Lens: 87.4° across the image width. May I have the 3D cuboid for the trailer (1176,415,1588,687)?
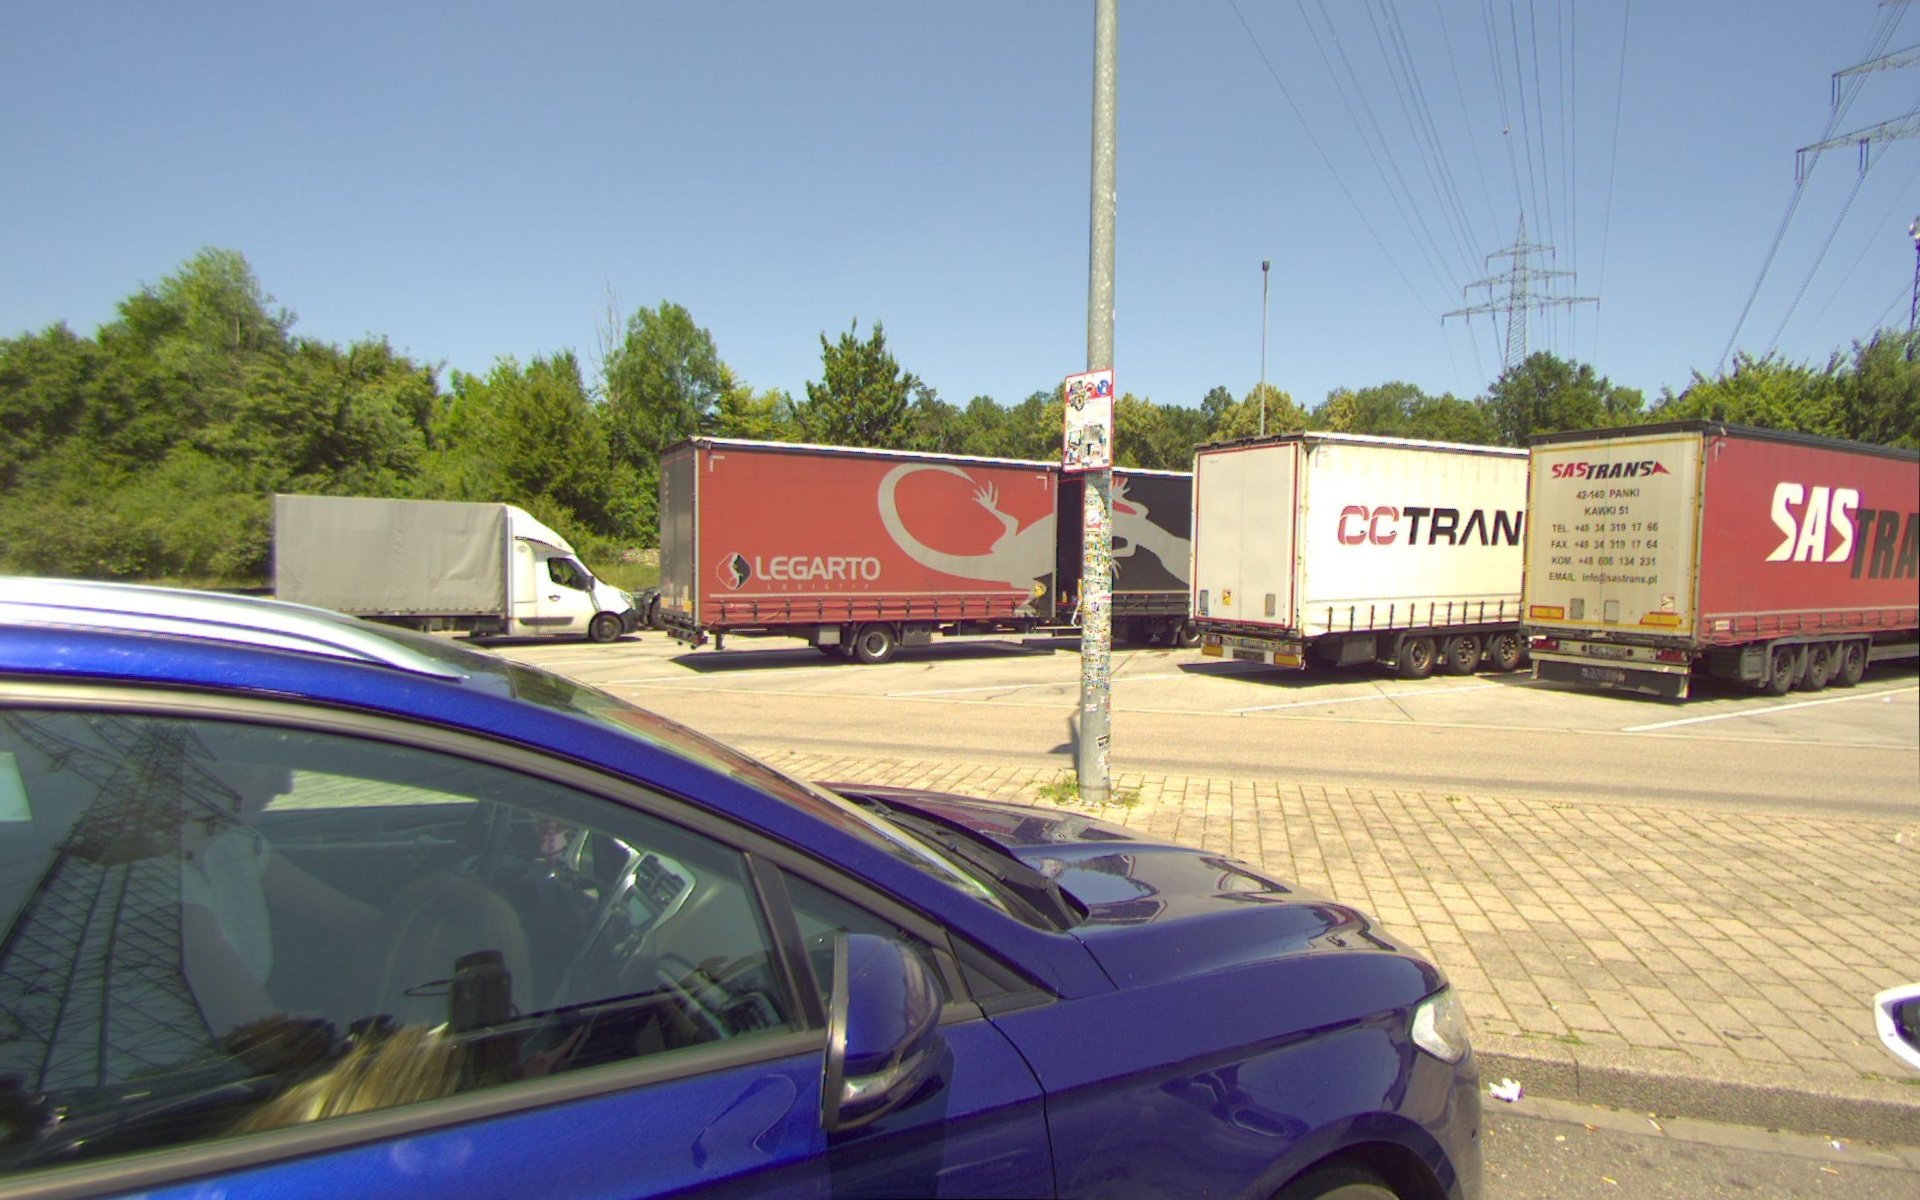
[{"bbox_3d":[8.076,-0.757,18.809,8.189,4.208,2.741,0,1,-30],"label":"trailer"}]

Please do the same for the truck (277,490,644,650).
[{"bbox_3d":[-11.074,-0.587,22.809,7.171,3.194,2.160,0,1,-30],"label":"truck"}]

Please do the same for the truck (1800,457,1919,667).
[{"bbox_3d":[21.446,-0.747,22.066,5.824,4.189,2.792,0,0,-30],"label":"truck"}]

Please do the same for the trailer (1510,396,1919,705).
[{"bbox_3d":[15.263,-0.651,18.432,13.046,4.276,2.786,0,0,-31],"label":"trailer"}]

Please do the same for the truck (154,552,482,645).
[{"bbox_3d":[-15.399,-0.026,24.631,6.538,2.040,1.984,0,0,-31],"label":"truck"}]

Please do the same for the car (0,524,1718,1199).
[{"bbox_3d":[-0.955,0.665,1.448,4.362,1.437,1.731,1,0,-30],"label":"car"}]

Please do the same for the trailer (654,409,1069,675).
[{"bbox_3d":[-1.810,-0.972,20.250,7.963,4.510,2.648,0,0,-31],"label":"trailer"}]

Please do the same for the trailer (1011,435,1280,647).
[{"bbox_3d":[4.484,-1.238,24.054,6.076,4.504,2.665,0,0,-30],"label":"trailer"}]

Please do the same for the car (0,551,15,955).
[{"bbox_3d":[-4.329,0.509,2.175,3.077,1.378,1.334,1,0,-30],"label":"car"}]
